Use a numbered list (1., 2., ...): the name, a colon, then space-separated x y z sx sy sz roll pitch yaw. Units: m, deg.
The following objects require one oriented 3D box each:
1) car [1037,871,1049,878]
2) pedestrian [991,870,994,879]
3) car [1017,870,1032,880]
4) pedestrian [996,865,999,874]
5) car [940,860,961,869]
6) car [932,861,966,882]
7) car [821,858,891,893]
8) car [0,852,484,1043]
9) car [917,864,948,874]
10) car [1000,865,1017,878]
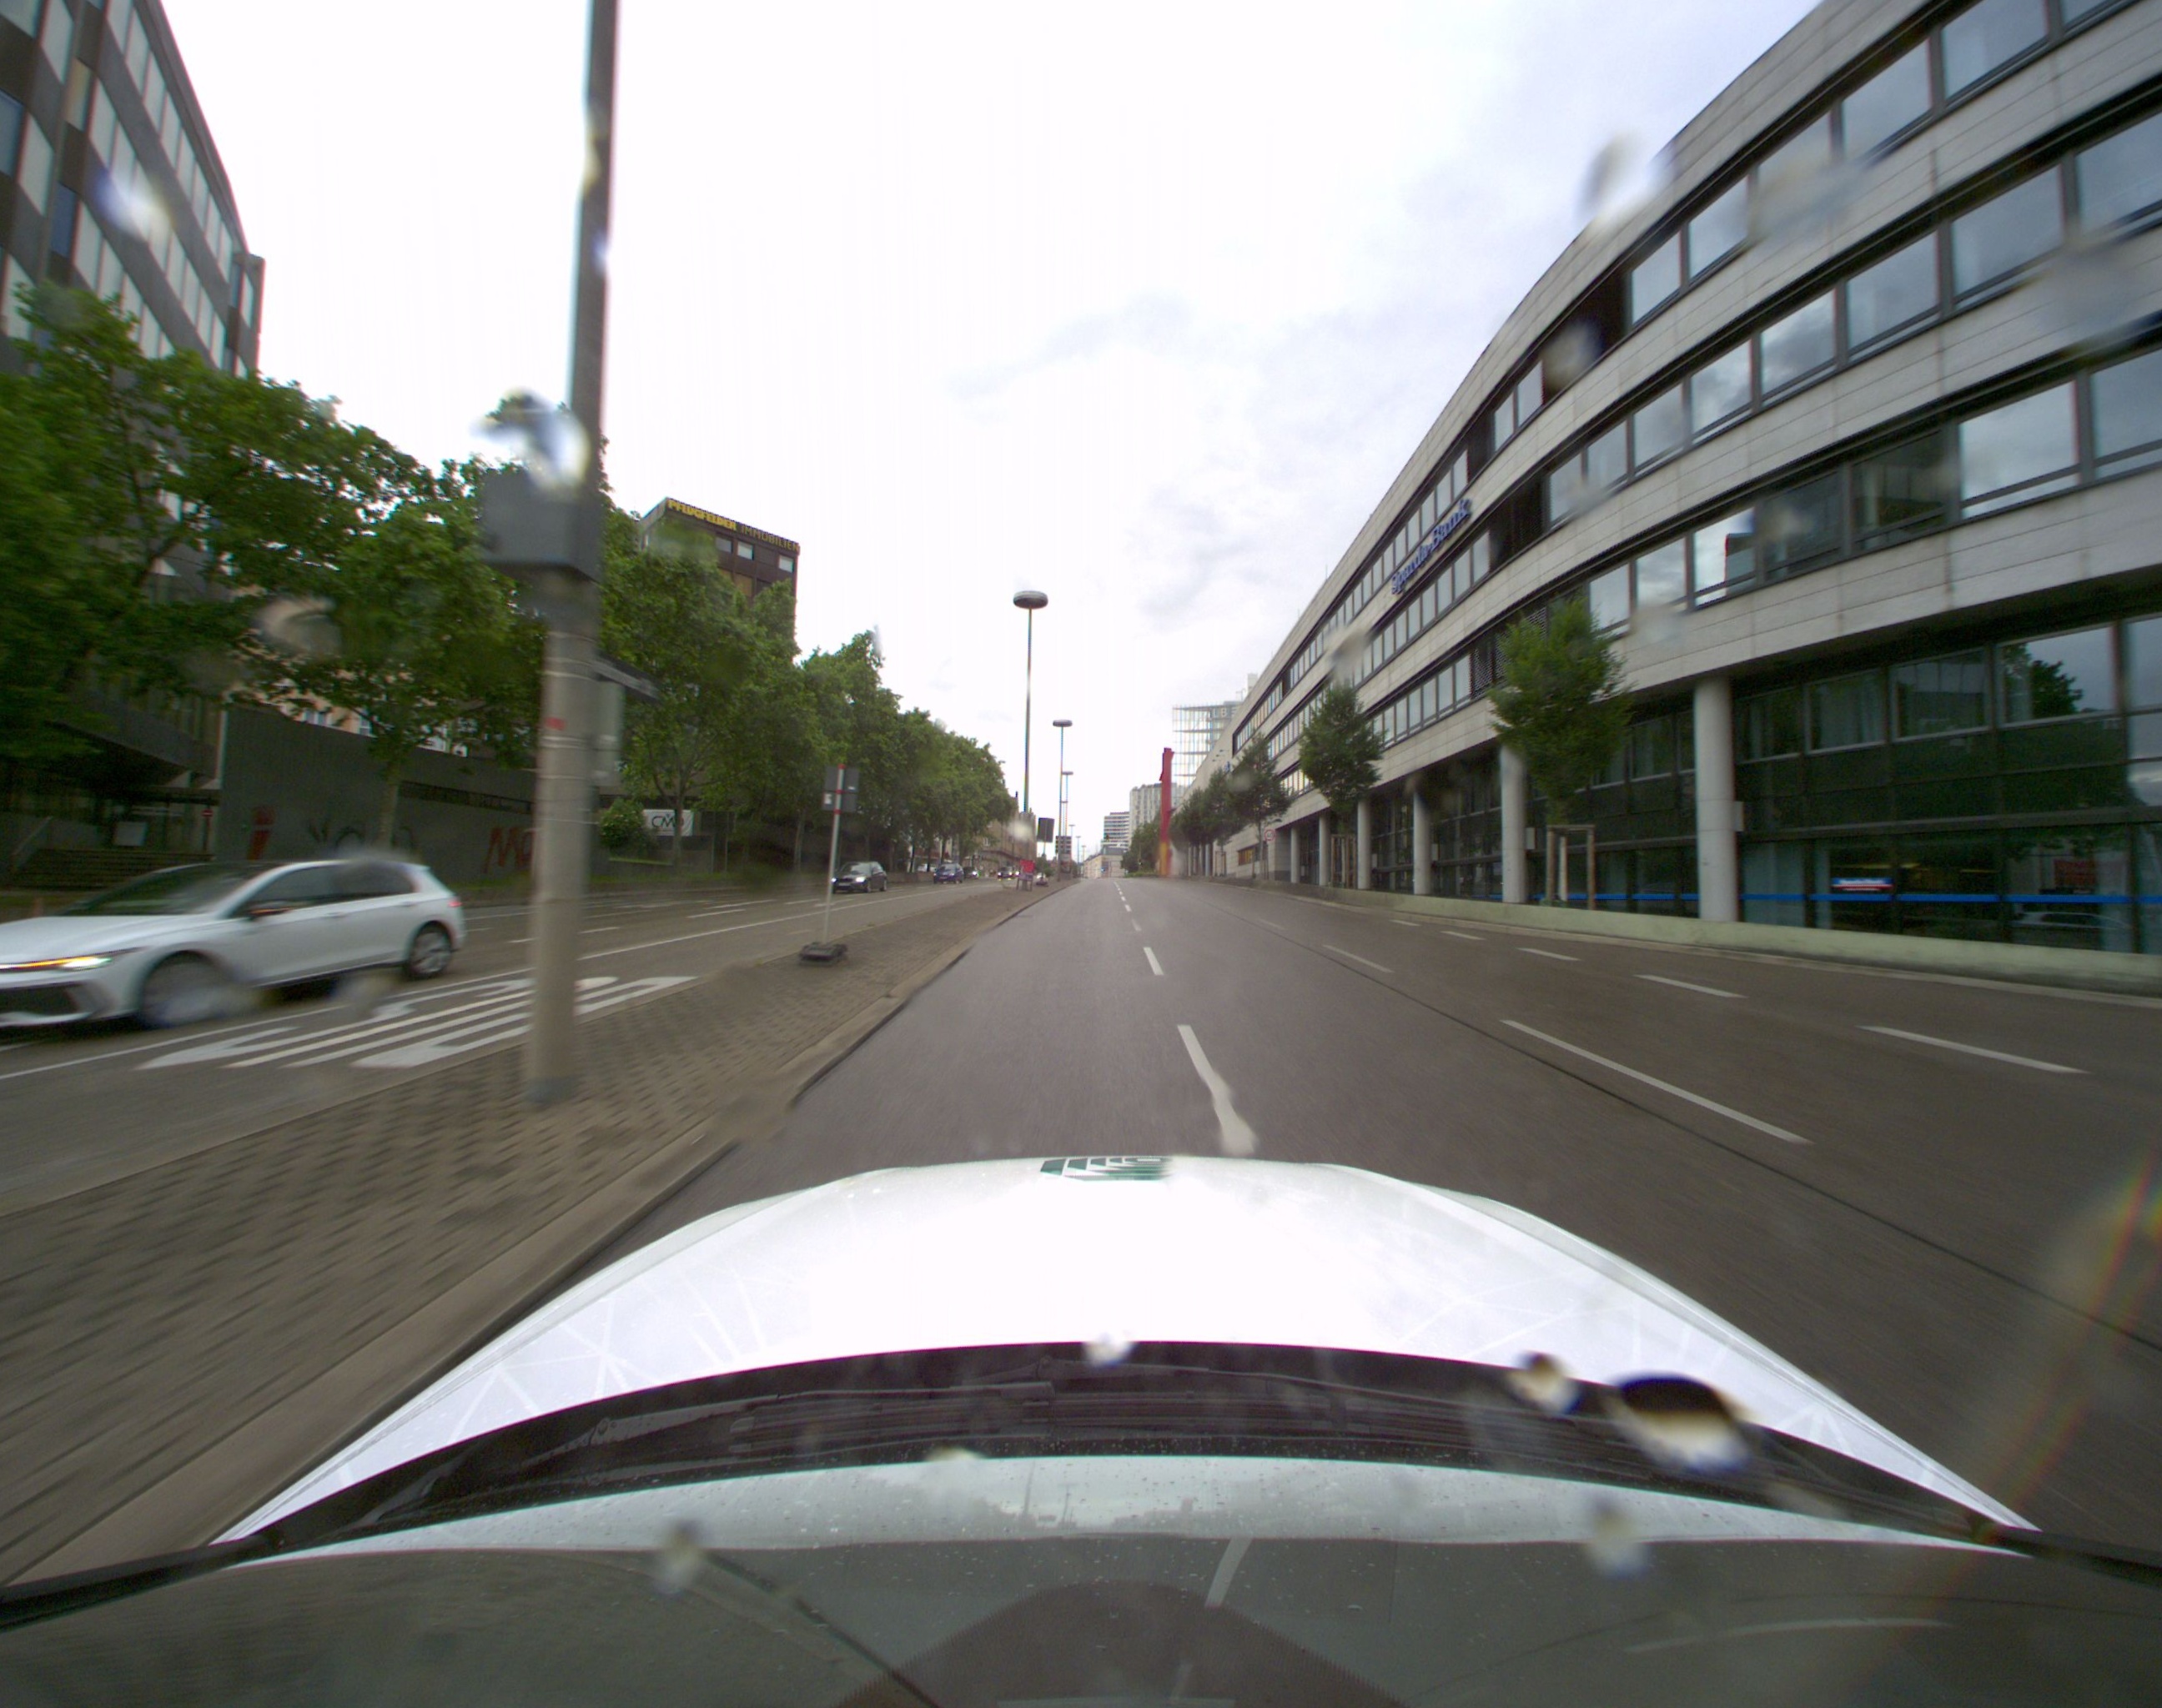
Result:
1. car: -7.679 4.177 165.069 1.811 1.469 4.003 -1 -2 4
2. pedestrian: -17.038 3.893 156.134 0.496 1.611 0.500 1 -3 4
3. car: -8.952 3.319 128.844 1.811 1.403 4.003 -1 -2 4
4. pedestrian: -15.947 2.973 156.229 0.496 1.611 0.500 1 -3 4
5. car: -24.245 1.958 151.657 3.618 1.701 1.824 -1 -2 -2
6. car: -9.535 1.214 59.099 1.602 1.473 4.070 0 -1 3
7. car: -10.033 0.925 36.622 1.800 1.448 4.341 -1 0 1
8. car: -8.727 0.723 8.445 1.754 1.460 4.361 -1 0 2
9. car: -22.719 2.330 124.526 1.802 1.511 4.606 -3 -3 40
10. car: -8.217 1.950 92.699 1.682 1.410 3.997 0 -1 -2
